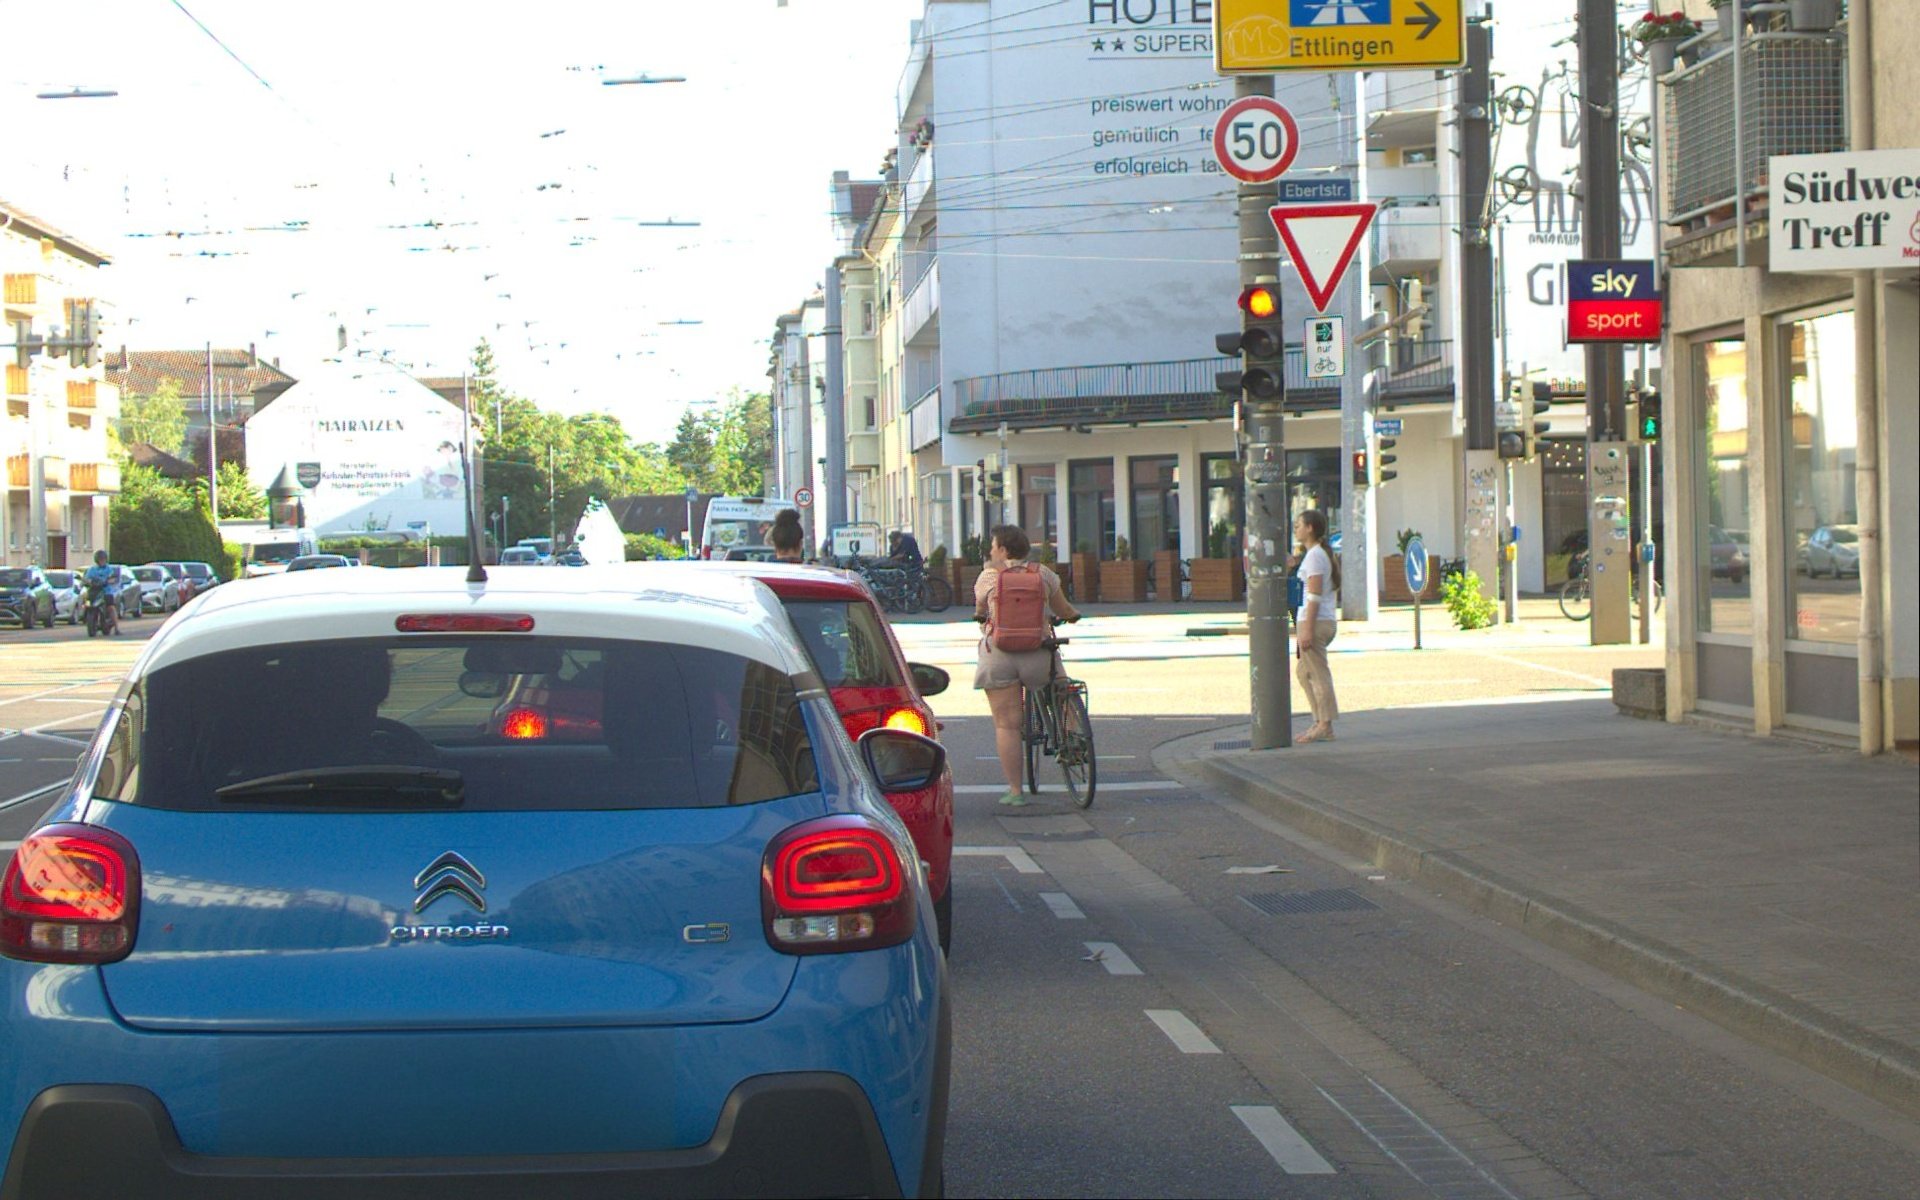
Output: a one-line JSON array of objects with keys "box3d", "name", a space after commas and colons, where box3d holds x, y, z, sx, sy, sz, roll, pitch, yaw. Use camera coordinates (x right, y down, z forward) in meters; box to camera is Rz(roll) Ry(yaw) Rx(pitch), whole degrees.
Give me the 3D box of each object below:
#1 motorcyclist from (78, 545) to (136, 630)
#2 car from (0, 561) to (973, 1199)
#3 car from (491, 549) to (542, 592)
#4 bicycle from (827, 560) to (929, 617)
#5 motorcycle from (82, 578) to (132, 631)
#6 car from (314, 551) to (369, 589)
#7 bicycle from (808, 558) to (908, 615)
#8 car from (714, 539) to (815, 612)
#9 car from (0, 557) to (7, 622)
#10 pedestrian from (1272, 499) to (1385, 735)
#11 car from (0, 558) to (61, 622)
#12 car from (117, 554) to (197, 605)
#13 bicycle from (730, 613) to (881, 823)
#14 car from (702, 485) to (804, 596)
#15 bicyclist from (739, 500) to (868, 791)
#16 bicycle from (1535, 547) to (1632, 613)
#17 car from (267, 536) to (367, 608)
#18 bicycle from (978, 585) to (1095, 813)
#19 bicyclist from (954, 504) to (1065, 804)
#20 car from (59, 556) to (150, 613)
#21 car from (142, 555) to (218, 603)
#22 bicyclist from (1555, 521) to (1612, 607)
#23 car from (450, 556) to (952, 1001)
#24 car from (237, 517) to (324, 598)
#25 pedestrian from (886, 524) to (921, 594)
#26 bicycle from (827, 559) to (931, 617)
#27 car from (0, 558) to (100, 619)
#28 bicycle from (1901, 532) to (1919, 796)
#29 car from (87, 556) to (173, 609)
[{"box3d": [-16.675, -0.249, 67.212, 0.991, 1.625, 0.739, -1, 1, -9], "name": "motorcyclist"}, {"box3d": [-0.962, 0.670, 7.373, 1.680, 1.457, 4.001, 0, 1, -4], "name": "car"}, {"box3d": [-22.040, -1.495, 170.840, 2.338, 2.032, 5.051, -1, 1, -6], "name": "car"}, {"box3d": [-1.607, -0.234, 67.118, 1.904, 1.061, 0.642, -1, 1, -7], "name": "bicycle"}, {"box3d": [-16.694, 0.076, 67.285, 0.751, 0.973, 2.098, -1, 1, -9], "name": "motorcycle"}, {"box3d": [-25.973, -1.276, 144.568, 1.950, 1.514, 4.001, -1, 1, -6], "name": "car"}, {"box3d": [-2.026, -0.272, 68.311, 1.904, 1.061, 0.642, -1, 1, -7], "name": "bicycle"}, {"box3d": [-3.882, -0.513, 67.803, 1.786, 1.354, 3.915, -1, 1, -6], "name": "car"}, {"box3d": [-23.320, -0.191, 79.224, 1.950, 1.514, 4.001, -1, 1, -6], "name": "car"}, {"box3d": [2.599, 0.110, 24.307, 0.751, 1.629, 0.740, -1, 1, 6], "name": "pedestrian"}, {"box3d": [-23.785, -0.264, 85.888, 1.950, 1.514, 4.001, -1, 1, -6], "name": "car"}, {"box3d": [-25.357, -0.669, 108.656, 1.950, 1.514, 4.001, -1, 1, -6], "name": "car"}, {"box3d": [-0.911, 0.653, 19.859, 0.616, 1.099, 1.887, -1, 1, -10], "name": "bicycle"}, {"box3d": [-4.432, -1.275, 73.239, 2.079, 2.262, 5.652, 0, 1, -4], "name": "car"}, {"box3d": [-0.907, 0.250, 19.745, 0.616, 1.624, 0.760, -1, 1, -10], "name": "bicyclist"}, {"box3d": [10.515, -0.341, 57.991, 1.492, 1.087, 0.604, 0, 1, 37], "name": "bicycle"}, {"box3d": [-15.268, -0.697, 81.879, 2.004, 1.622, 5.054, -1, 1, -7], "name": "car"}, {"box3d": [0.445, 0.561, 20.640, 0.613, 1.260, 1.911, -1, 1, -1], "name": "bicycle"}, {"box3d": [0.288, 0.305, 20.597, 0.600, 1.740, 1.084, -1, 1, -1], "name": "bicyclist"}, {"box3d": [-24.457, -0.454, 98.373, 1.950, 1.514, 4.001, -1, 1, -6], "name": "car"}, {"box3d": [-26.067, -0.717, 114.998, 1.950, 1.514, 4.001, -1, 1, -6], "name": "car"}, {"box3d": [10.515, -0.612, 57.971, 0.728, 1.429, 0.604, 0, 1, 37], "name": "bicyclist"}, {"box3d": [-1.009, 0.579, 13.583, 1.680, 1.457, 4.001, 0, 1, -4], "name": "car"}, {"box3d": [-23.660, -1.500, 119.934, 2.493, 2.703, 5.839, -1, 1, -7], "name": "car"}, {"box3d": [-1.153, -0.843, 70.256, 0.525, 1.415, 0.546, -1, 1, 20], "name": "pedestrian"}, {"box3d": [-1.558, -0.240, 65.812, 1.904, 1.061, 0.642, -1, 1, -7], "name": "bicycle"}, {"box3d": [-24.305, -0.332, 91.946, 1.950, 1.514, 4.001, -1, 1, -6], "name": "car"}, {"box3d": [4.911, 0.314, 15.751, 0.640, 1.260, 1.911, -1, 1, -1], "name": "bicycle"}, {"box3d": [-24.924, -0.538, 103.377, 1.950, 1.514, 4.001, -1, 1, -6], "name": "car"}]
